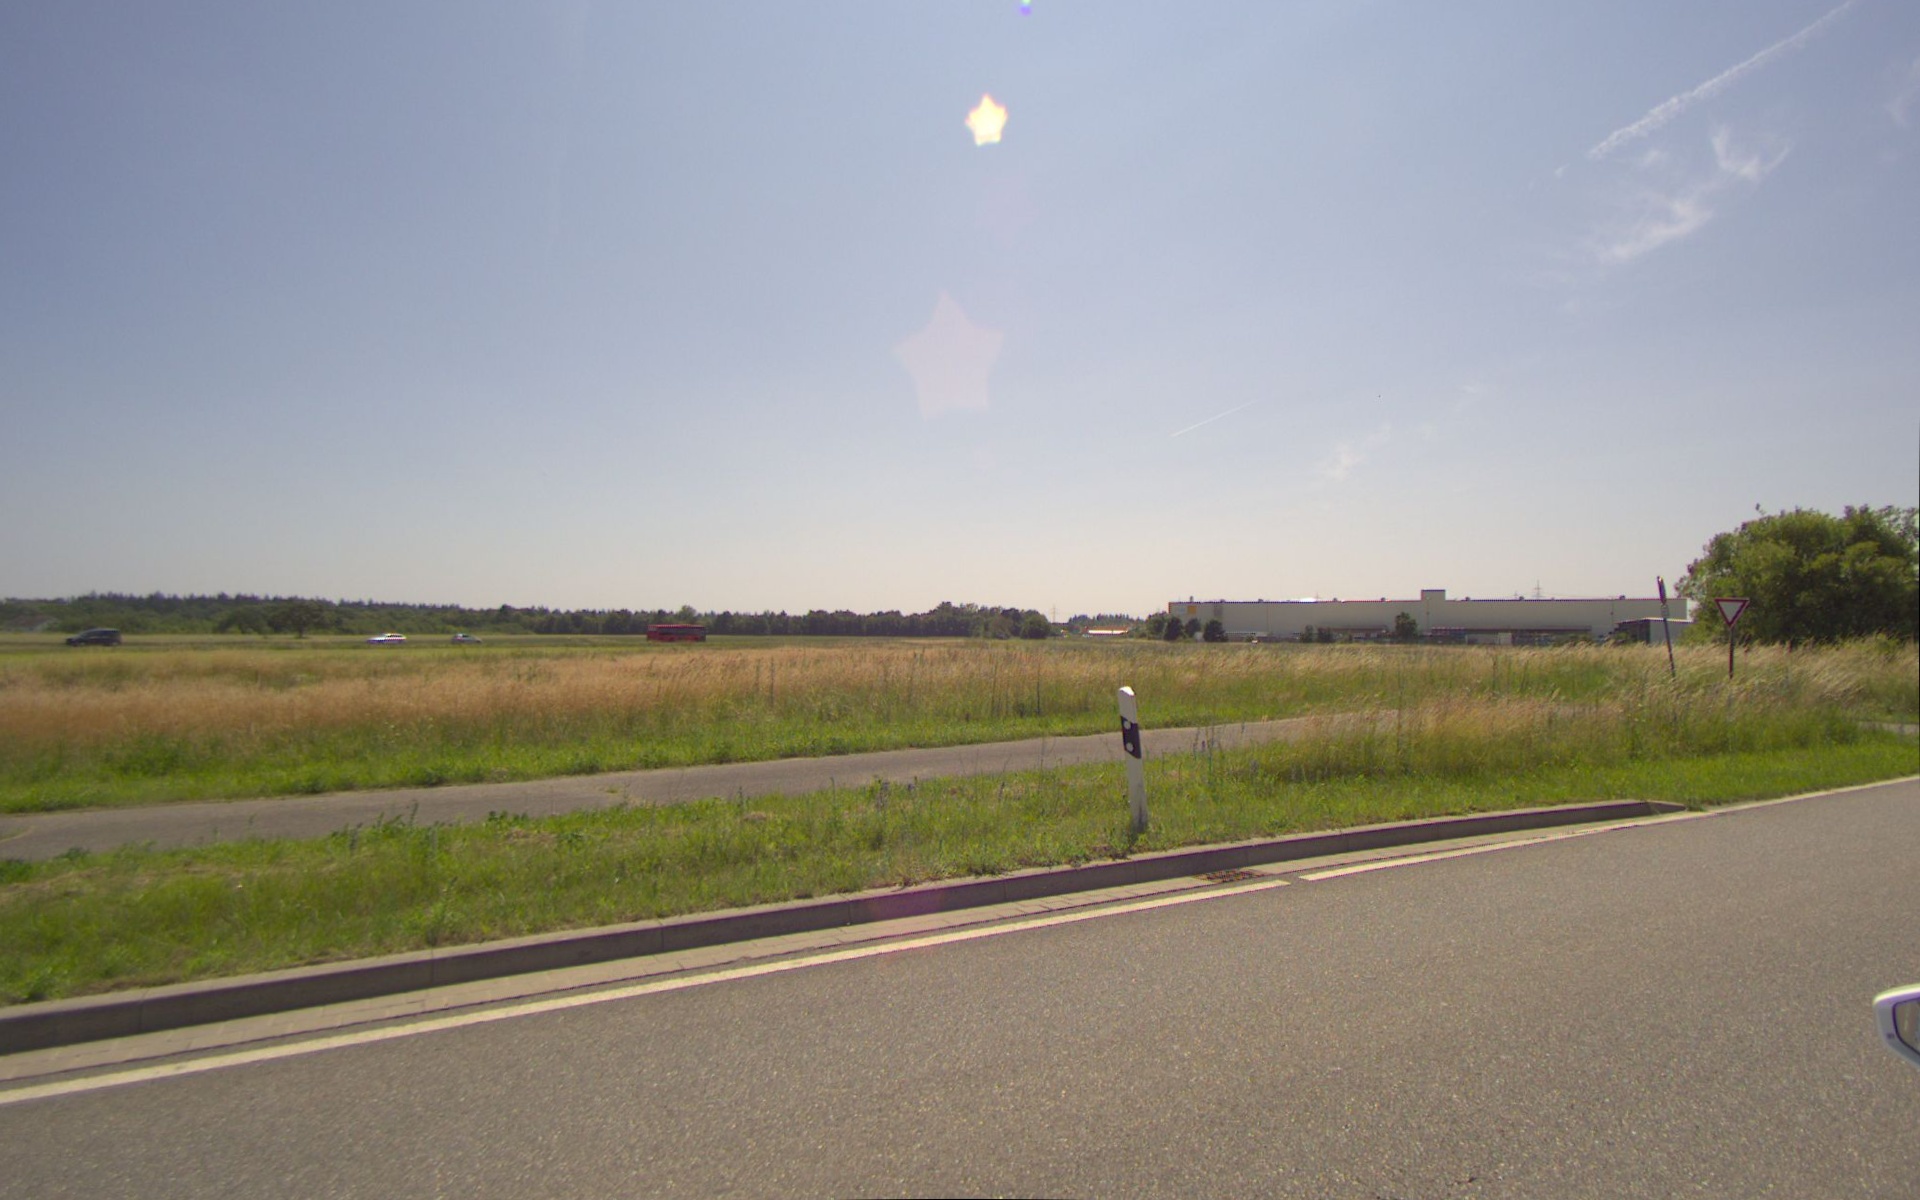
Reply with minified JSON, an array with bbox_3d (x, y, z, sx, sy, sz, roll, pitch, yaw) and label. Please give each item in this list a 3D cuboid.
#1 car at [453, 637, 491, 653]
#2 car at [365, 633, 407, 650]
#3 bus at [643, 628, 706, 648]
[{"bbox_3d":[-65.337,5.978,134.592,1.963,2.040,4.226,-1,-2,26],"label":"car"},{"bbox_3d":[-73.287,5.311,128.318,1.964,2.040,4.222,-1,-2,30],"label":"car"},{"bbox_3d":[-48.503,6.505,171.137,3.252,3.352,11.980,-1,-2,26],"label":"bus"}]
